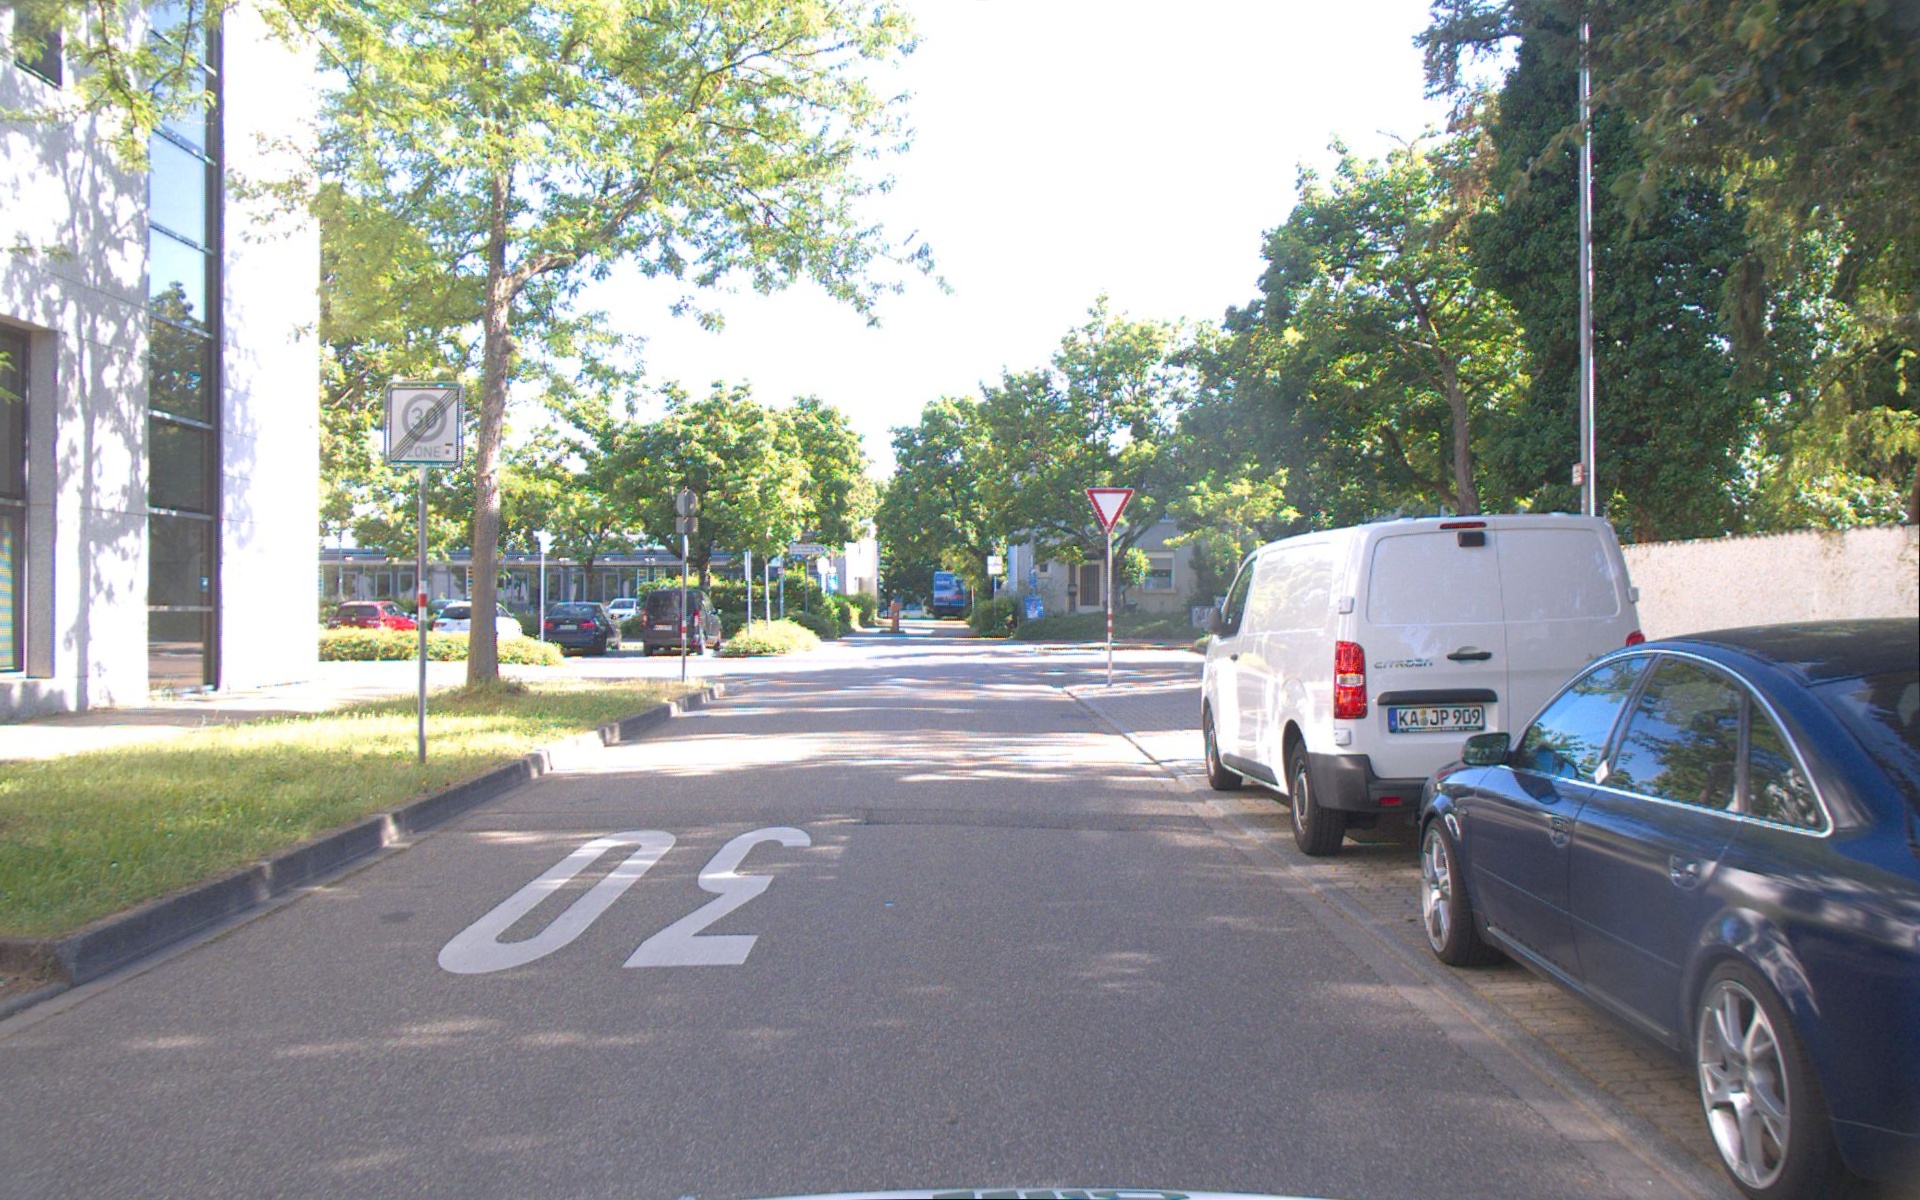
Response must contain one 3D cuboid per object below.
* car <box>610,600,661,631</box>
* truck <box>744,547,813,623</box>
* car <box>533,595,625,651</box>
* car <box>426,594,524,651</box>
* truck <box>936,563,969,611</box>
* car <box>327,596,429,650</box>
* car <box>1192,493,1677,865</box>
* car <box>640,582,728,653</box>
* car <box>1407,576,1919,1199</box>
[{"bbox_3d":[-16.932,0.809,86.380,1.798,1.524,3.908,0,1,2],"label":"car"},{"bbox_3d":[-9.630,-0.787,88.394,2.744,3.873,6.925,1,0,1],"label":"truck"},{"bbox_3d":[-10.772,0.616,47.009,1.786,1.430,4.167,0,1,-2],"label":"car"},{"bbox_3d":[-13.729,0.614,47.045,1.766,1.461,3.911,0,1,-2],"label":"car"},{"bbox_3d":[-0.640,-1.064,142.011,2.703,3.937,9.329,1,0,0],"label":"truck"},{"bbox_3d":[-16.504,0.628,47.080,1.634,1.451,3.910,1,0,-2],"label":"car"},{"bbox_3d":[2.878,0.408,11.355,1.859,1.947,5.148,-1,0,0],"label":"car"},{"bbox_3d":[-7.839,0.453,47.300,1.835,1.879,4.168,0,1,0],"label":"car"},{"bbox_3d":[2.923,0.687,5.290,1.788,1.448,4.283,-3,0,0],"label":"car"}]
